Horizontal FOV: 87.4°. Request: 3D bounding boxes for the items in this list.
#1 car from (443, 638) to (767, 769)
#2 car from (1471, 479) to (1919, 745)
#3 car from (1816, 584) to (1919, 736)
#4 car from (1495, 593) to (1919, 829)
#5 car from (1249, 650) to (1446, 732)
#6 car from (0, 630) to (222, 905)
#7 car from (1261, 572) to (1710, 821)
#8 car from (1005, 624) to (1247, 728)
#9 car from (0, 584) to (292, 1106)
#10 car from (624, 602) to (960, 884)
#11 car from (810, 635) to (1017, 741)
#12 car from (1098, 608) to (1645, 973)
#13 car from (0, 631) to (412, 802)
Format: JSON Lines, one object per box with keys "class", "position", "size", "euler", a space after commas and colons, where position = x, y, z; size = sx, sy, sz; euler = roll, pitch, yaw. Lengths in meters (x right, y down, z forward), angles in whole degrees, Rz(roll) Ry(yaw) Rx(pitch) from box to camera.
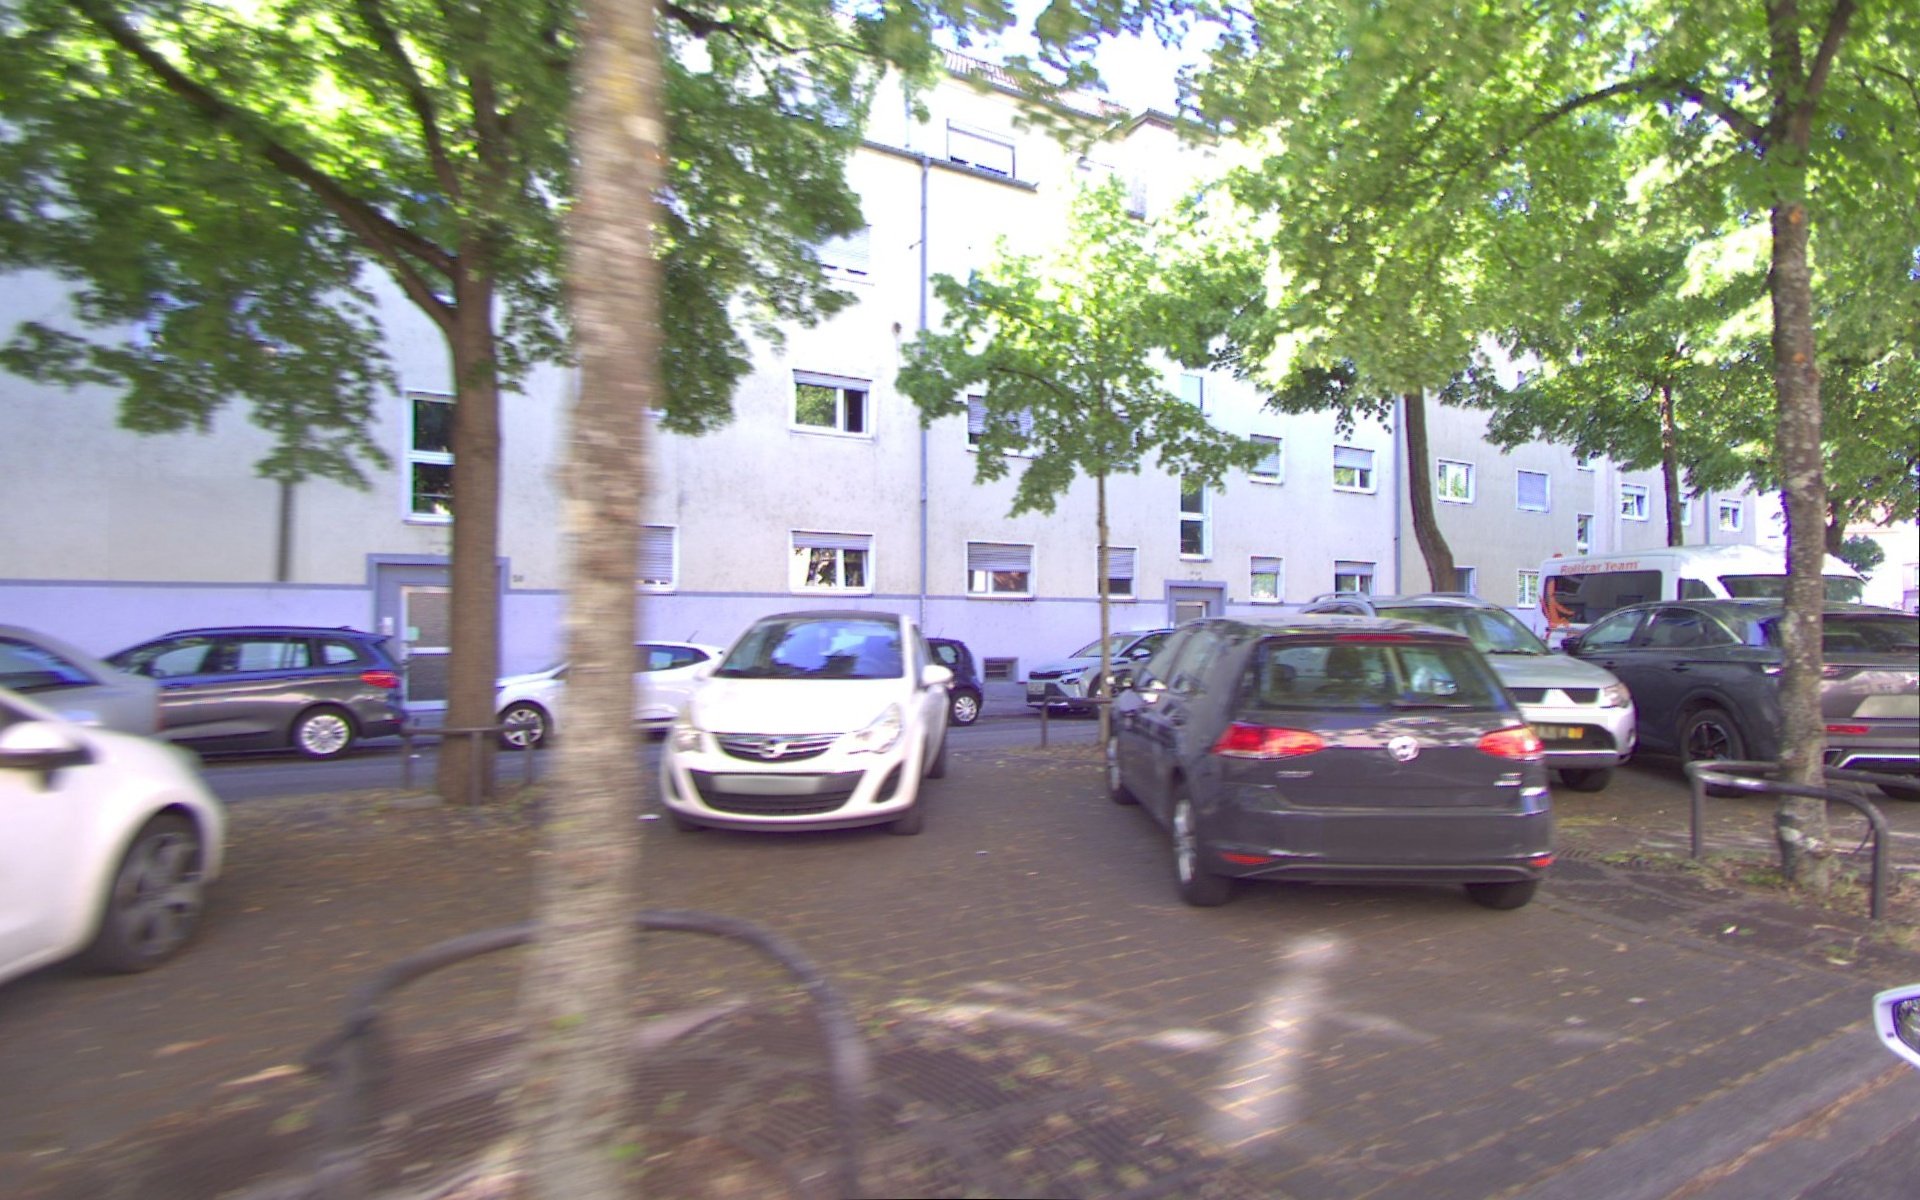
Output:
{"class": "car", "position": [-5.078, 1.381, 14.494], "size": [4.114, 1.586, 1.882], "euler": [1, -2, -32]}
{"class": "car", "position": [9.998, 0.398, 13.242], "size": [2.413, 2.656, 6.072], "euler": [1, -5, -14]}
{"class": "car", "position": [12.956, 0.748, 12.349], "size": [1.806, 1.914, 3.853], "euler": [0, -1, 6]}
{"class": "car", "position": [6.942, 0.784, 9.274], "size": [1.623, 1.663, 4.275], "euler": [1, 0, -1]}
{"class": "car", "position": [8.881, 1.993, 22.930], "size": [4.537, 1.537, 1.763], "euler": [1, 1, -30]}
{"class": "car", "position": [-6.116, 0.913, 4.982], "size": [1.761, 1.454, 4.002], "euler": [0, -1, 4]}
{"class": "car", "position": [4.513, 0.758, 9.542], "size": [1.862, 1.800, 4.393], "euler": [1, -1, -2]}
{"class": "car", "position": [3.193, 1.347, 19.052], "size": [4.507, 1.745, 1.732], "euler": [0, -2, -32]}
{"class": "car", "position": [-3.806, 0.748, 2.702], "size": [1.739, 1.617, 3.692], "euler": [1, 0, -4]}
{"class": "car", "position": [-0.949, 0.862, 7.616], "size": [1.809, 1.576, 3.917], "euler": [0, -2, 1]}
{"class": "car", "position": [-0.763, 1.411, 16.878], "size": [3.148, 1.579, 1.467], "euler": [0, -3, -32]}
{"class": "car", "position": [2.012, 0.832, 6.265], "size": [1.698, 1.501, 4.109], "euler": [1, -1, 0]}
{"class": "car", "position": [-9.032, 1.283, 12.016], "size": [4.326, 1.741, 1.838], "euler": [1, -3, -30]}
